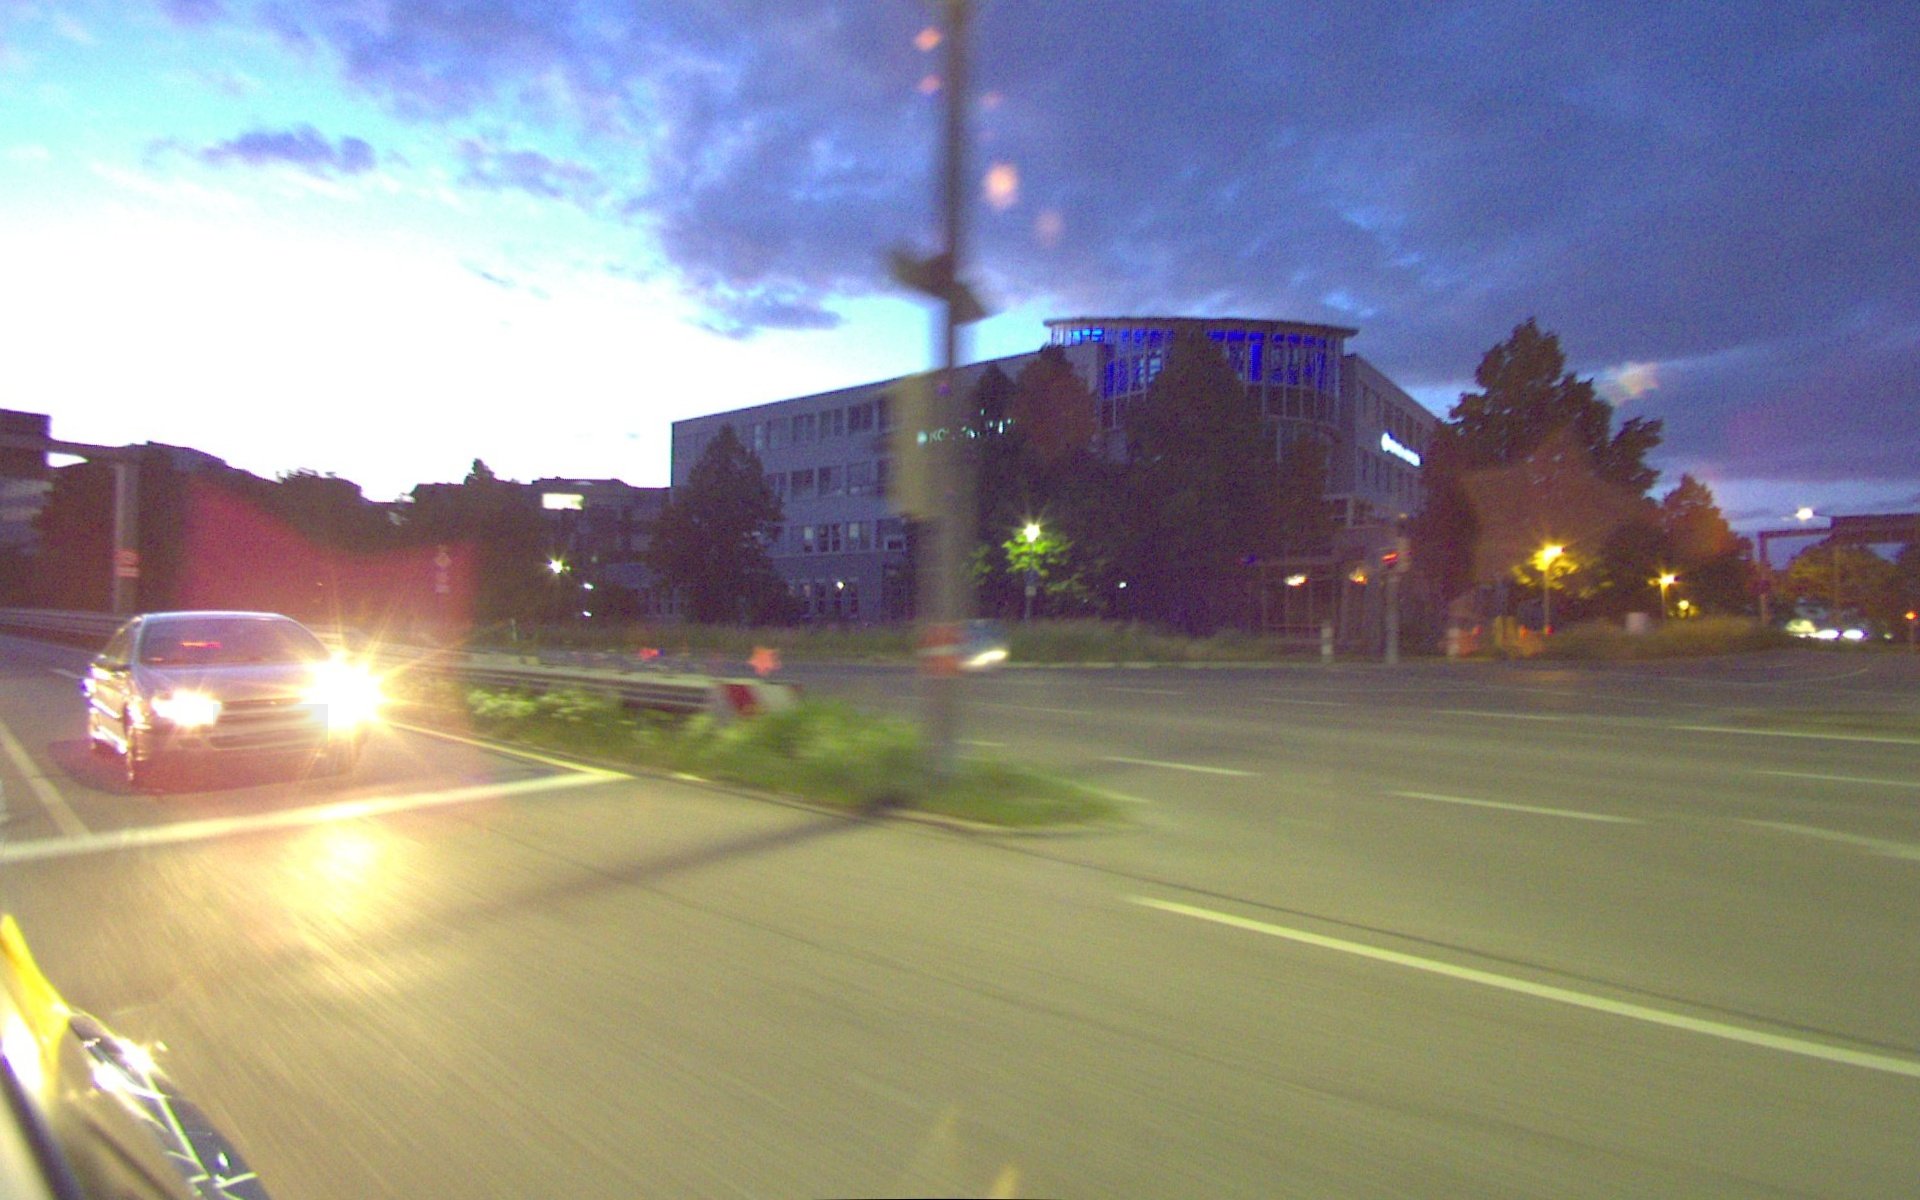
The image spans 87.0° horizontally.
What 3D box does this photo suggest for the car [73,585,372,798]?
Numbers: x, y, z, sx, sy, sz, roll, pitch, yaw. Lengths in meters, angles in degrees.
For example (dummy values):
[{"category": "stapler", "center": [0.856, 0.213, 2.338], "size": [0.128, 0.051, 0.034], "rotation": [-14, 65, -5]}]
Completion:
[{"category": "car", "center": [-7.448, 0.727, 10.031], "size": [4.412, 1.665, 1.647], "rotation": [-1, 0, 44]}]
